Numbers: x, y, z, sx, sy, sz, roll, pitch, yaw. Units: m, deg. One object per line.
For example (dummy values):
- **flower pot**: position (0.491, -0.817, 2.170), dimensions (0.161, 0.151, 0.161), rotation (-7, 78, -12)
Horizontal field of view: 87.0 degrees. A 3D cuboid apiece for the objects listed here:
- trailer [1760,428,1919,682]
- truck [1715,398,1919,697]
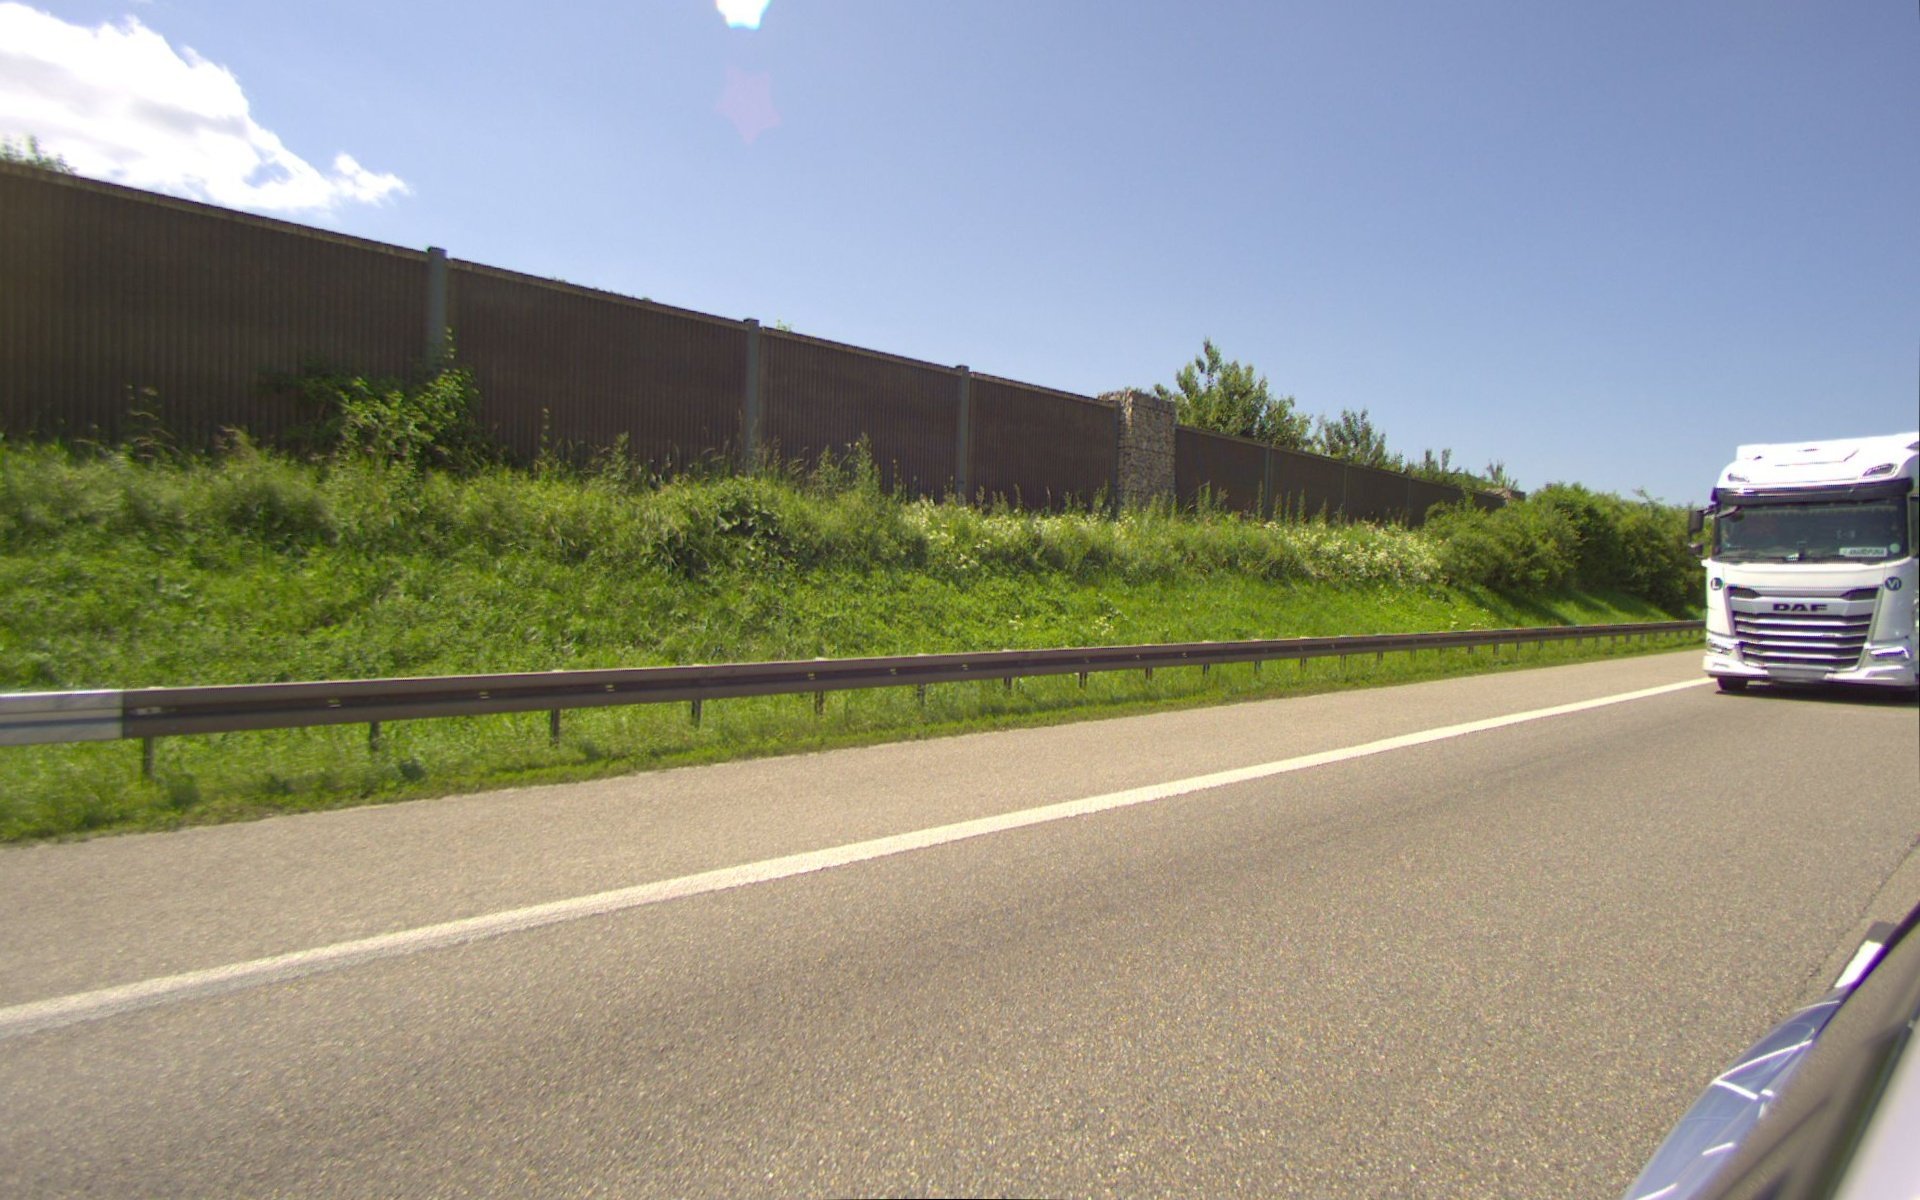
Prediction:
- **trailer**: position (19.695, -0.767, 21.204), dimensions (13.423, 4.027, 2.481), rotation (0, 1, -43)
- **truck**: position (14.567, -0.739, 16.496), dimensions (6.272, 4.027, 2.481), rotation (0, 1, -42)
